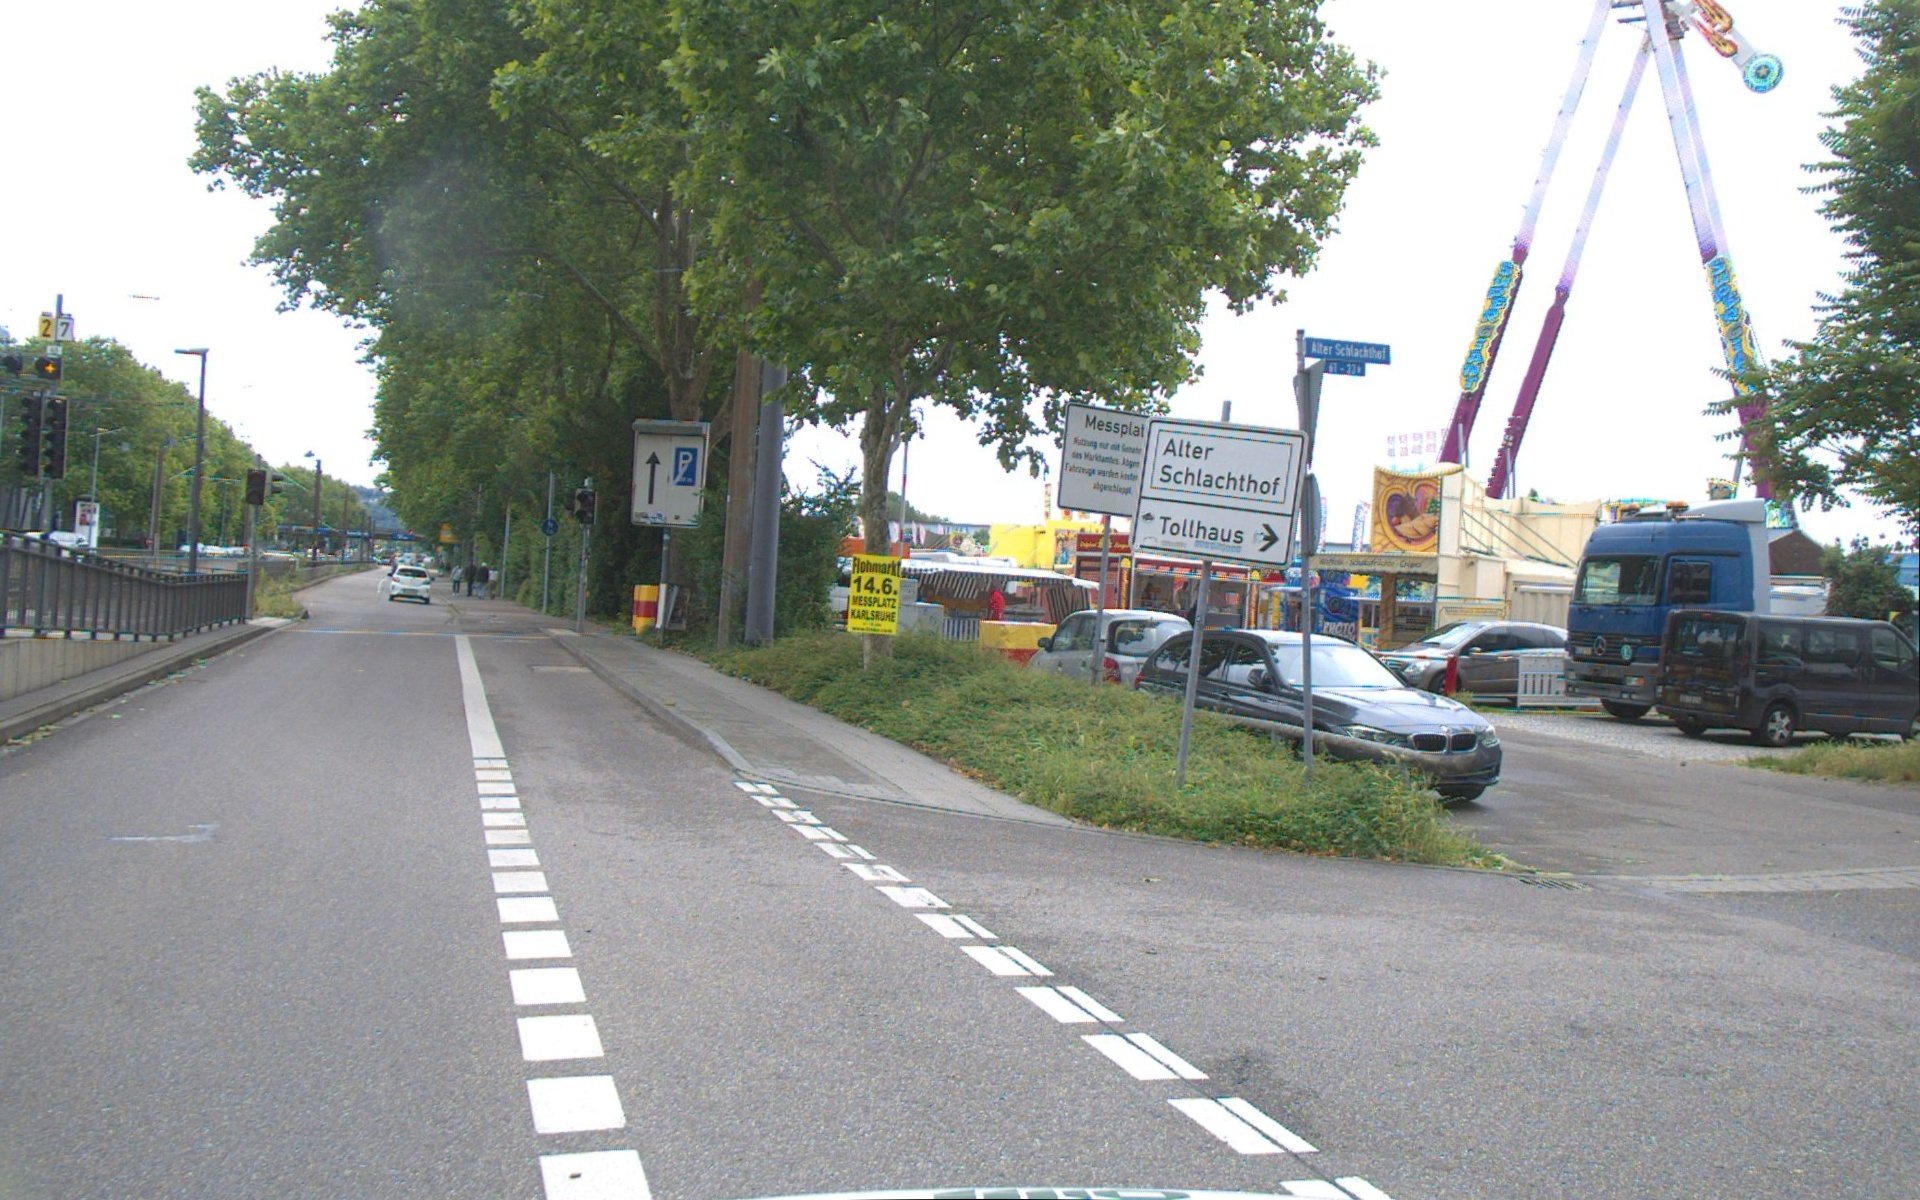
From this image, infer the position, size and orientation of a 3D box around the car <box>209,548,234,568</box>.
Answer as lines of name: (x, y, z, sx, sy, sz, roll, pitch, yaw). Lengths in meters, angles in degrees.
car: (-73.164, -4.166, 163.884, 1.965, 1.825, 3.974, 3, 0, -22)

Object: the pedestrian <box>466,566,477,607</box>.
pedestrian: (-25.082, -0.689, 84.933, 0.388, 2.049, 0.402, 3, -1, -3)

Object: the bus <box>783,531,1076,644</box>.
bus: (-0.921, -0.352, 52.938, 9.144, 3.011, 1.988, 3, -1, -21)

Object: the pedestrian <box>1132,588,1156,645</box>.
pedestrian: (5.561, 0.496, 50.012, 0.485, 1.716, 0.520, 3, -1, -21)

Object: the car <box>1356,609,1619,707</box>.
car: (10.132, 1.112, 31.791, 4.505, 1.603, 1.989, 3, 0, -20)

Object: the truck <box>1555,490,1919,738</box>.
truck: (14.848, 0.353, 29.503, 8.069, 3.889, 2.585, 3, -1, -20)

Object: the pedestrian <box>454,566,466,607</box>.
pedestrian: (-25.628, -0.694, 84.812, 0.388, 2.049, 0.402, 3, -1, -3)

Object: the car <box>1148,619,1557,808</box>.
car: (3.605, 1.007, 15.940, 1.837, 1.455, 3.973, 3, 0, -22)

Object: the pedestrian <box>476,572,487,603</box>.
pedestrian: (-23.035, -0.601, 79.623, 0.390, 1.469, 0.559, 3, -1, -23)

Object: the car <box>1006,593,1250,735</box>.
car: (2.118, 0.787, 22.023, 1.833, 1.622, 3.983, 3, 0, -16)

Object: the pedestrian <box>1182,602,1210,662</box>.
pedestrian: (6.857, 0.932, 48.088, 0.517, 1.716, 0.488, 3, -1, -35)

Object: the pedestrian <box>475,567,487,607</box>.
pedestrian: (-24.607, -0.661, 84.991, 0.388, 2.049, 0.402, 3, -1, -3)

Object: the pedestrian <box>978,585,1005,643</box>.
pedestrian: (0.819, 0.370, 43.672, 0.485, 1.488, 0.520, 3, -1, -21)

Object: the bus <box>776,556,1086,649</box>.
bus: (-0.797, 0.111, 49.693, 9.144, 2.266, 1.988, 3, -1, -21)

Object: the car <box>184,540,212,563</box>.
car: (-67.775, -4.288, 147.107, 1.965, 1.825, 3.974, 3, 0, -22)

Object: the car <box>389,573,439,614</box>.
car: (-22.794, -0.300, 69.115, 1.811, 1.579, 3.982, 3, 0, -17)

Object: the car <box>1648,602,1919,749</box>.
car: (13.255, 1.164, 25.727, 4.506, 2.048, 1.989, 2, 1, -20)

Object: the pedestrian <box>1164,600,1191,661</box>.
pedestrian: (6.251, 0.868, 47.583, 0.517, 1.716, 0.488, 3, -1, -35)

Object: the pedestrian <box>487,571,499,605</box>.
pedestrian: (-22.515, -0.571, 79.715, 0.391, 1.613, 0.534, 3, -1, -25)

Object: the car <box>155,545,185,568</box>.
car: (-67.744, -3.733, 141.859, 1.965, 1.825, 3.974, 3, 0, -22)
